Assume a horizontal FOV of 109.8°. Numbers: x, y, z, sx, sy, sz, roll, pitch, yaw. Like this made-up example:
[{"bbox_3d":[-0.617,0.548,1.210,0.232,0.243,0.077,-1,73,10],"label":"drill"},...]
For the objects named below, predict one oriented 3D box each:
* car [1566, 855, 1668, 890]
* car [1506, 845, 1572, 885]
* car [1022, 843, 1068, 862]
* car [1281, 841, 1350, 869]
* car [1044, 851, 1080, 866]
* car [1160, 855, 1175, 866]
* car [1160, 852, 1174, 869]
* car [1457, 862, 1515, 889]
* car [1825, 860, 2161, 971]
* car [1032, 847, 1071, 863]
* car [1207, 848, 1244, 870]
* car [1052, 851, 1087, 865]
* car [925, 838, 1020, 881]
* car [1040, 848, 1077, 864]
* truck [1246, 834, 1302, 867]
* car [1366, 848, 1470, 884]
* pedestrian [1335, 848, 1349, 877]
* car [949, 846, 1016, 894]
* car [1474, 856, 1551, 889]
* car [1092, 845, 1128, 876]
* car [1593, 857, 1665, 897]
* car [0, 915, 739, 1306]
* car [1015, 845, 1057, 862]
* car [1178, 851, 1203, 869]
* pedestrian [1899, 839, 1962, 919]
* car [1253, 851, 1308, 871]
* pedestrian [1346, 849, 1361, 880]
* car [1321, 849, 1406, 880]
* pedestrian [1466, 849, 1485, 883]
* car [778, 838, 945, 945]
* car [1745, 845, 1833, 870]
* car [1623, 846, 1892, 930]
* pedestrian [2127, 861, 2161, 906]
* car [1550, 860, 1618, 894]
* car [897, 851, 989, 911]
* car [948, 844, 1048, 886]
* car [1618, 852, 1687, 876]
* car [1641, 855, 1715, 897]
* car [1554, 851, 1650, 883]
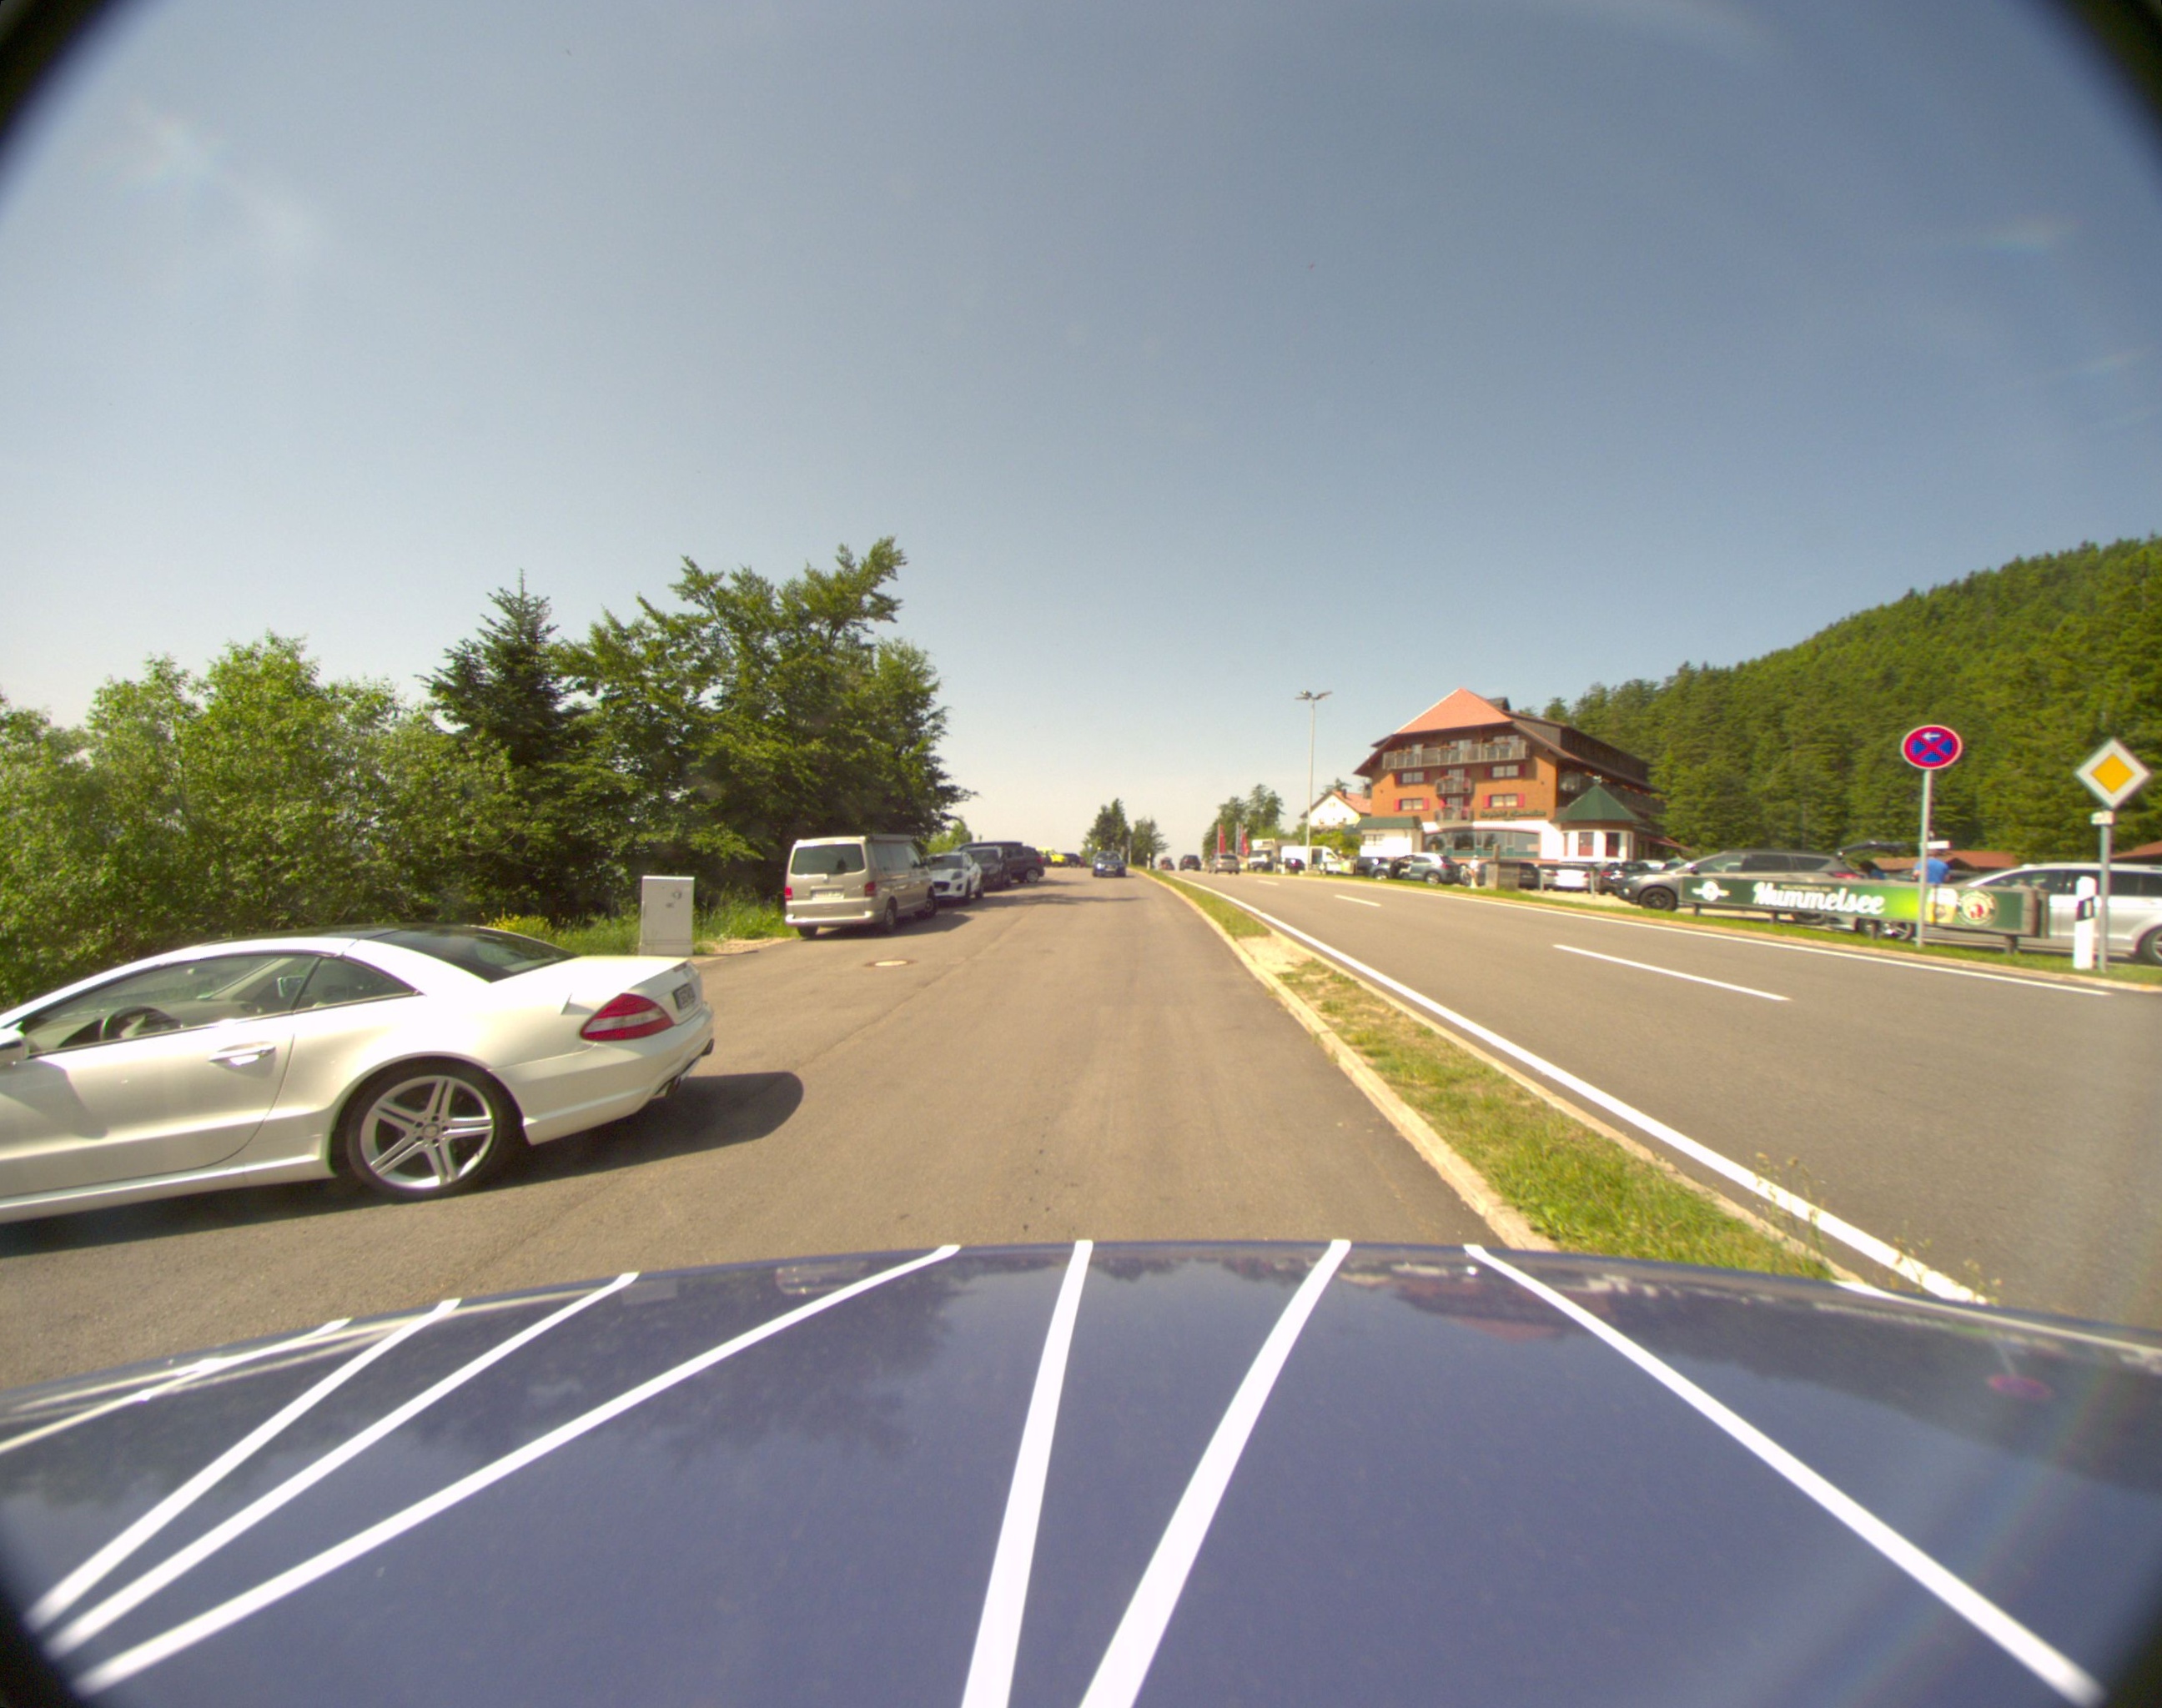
[{"bbox_3d":[28.194,0.946,40.034,4.082,1.619,1.828,2,2,44],"label":"car"},{"bbox_3d":[24.490,0.530,40.611,4.008,2.002,1.994,0,1,-43],"label":"car"},{"bbox_3d":[-3.620,-0.157,77.217,4.455,1.914,1.877,1,1,4],"label":"car"},{"bbox_3d":[25.604,0.077,82.911,6.949,2.775,2.671,1,1,20],"label":"car"},{"bbox_3d":[-2.162,0.449,85.889,3.909,1.605,1.877,1,1,4],"label":"car"},{"bbox_3d":[12.350,0.965,108.858,1.710,1.429,4.449,1,1,1],"label":"car"},{"bbox_3d":[14.629,1.095,129.665,2.015,2.735,5.918,1,1,4],"label":"car"},{"bbox_3d":[24.595,1.255,46.109,4.104,1.504,1.818,0,1,-43],"label":"car"},{"bbox_3d":[14.835,0.881,11.892,4.488,1.422,1.726,2,1,44],"label":"car"},{"bbox_3d":[-3.116,0.062,80.395,3.909,1.605,1.877,1,1,4],"label":"car"},{"bbox_3d":[10.389,0.348,54.810,1.884,1.466,4.714,-1,1,2],"label":"car"},{"bbox_3d":[-1.366,0.491,89.999,3.909,1.605,1.877,1,1,4],"label":"car"},{"bbox_3d":[-5.575,0.271,38.996,4.463,1.914,1.873,-3,1,-18],"label":"car"},{"bbox_3d":[-2.422,0.211,83.082,3.909,1.605,1.877,1,1,4],"label":"car"},{"bbox_3d":[23.074,-0.368,90.355,2.876,3.798,9.037,-1,0,39],"label":"truck"},{"bbox_3d":[16.571,0.547,37.469,4.258,1.619,1.828,2,1,44],"label":"car"},{"bbox_3d":[18.310,0.611,53.346,0.717,2.002,0.802,0,1,0],"label":"pedestrian"},{"bbox_3d":[-3.663,0.533,28.944,1.875,1.609,3.999,-3,1,1],"label":"car"},{"bbox_3d":[21.400,0.870,37.854,1.720,1.422,4.001,1,1,4],"label":"car"},{"bbox_3d":[1.563,0.317,41.982,1.875,1.605,3.913,1,1,2],"label":"car"},{"bbox_3d":[24.699,1.002,34.223,4.104,1.619,1.818,0,1,-43],"label":"car"},{"bbox_3d":[-4.361,1.177,3.967,4.414,1.288,1.753,-3,0,-16],"label":"car"},{"bbox_3d":[-4.410,-0.087,74.476,3.909,1.605,1.877,1,1,4],"label":"car"},{"bbox_3d":[11.079,0.565,76.958,1.998,1.638,4.567,1,1,2],"label":"car"},{"bbox_3d":[17.844,0.506,15.981,0.744,1.626,0.849,2,2,42],"label":"pedestrian"},{"bbox_3d":[16.807,0.604,64.006,4.082,1.518,1.828,2,1,41],"label":"car"},{"bbox_3d":[18.165,0.682,50.669,0.717,2.002,0.802,0,1,0],"label":"pedestrian"},{"bbox_3d":[16.511,0.584,44.514,4.258,1.619,1.828,2,1,44],"label":"car"},{"bbox_3d":[19.592,0.591,37.735,0.744,1.615,0.684,2,2,31],"label":"pedestrian"},{"bbox_3d":[-4.512,0.678,16.475,1.861,1.924,4.610,-3,1,5],"label":"car"},{"bbox_3d":[54.603,0.250,58.657,1.924,1.706,4.831,0,1,-44],"label":"car"},{"bbox_3d":[15.770,0.696,17.995,4.538,1.646,1.726,2,1,43],"label":"car"},{"bbox_3d":[40.167,1.100,28.563,0.782,1.646,0.881,1,2,40],"label":"pedestrian"},{"bbox_3d":[24.810,1.103,37.410,4.104,1.504,1.818,0,1,-43],"label":"car"},{"bbox_3d":[-4.012,0.732,22.731,1.875,1.538,3.999,-3,1,1],"label":"car"},{"bbox_3d":[-3.656,0.461,33.389,4.003,1.609,1.873,-3,1,-18],"label":"car"},{"bbox_3d":[45.530,0.753,60.602,1.924,1.706,4.082,0,2,-44],"label":"car"},{"bbox_3d":[25.556,0.886,32.496,4.104,1.619,1.818,0,1,-43],"label":"car"},{"bbox_3d":[29.086,0.684,42.488,4.082,1.619,1.828,2,2,44],"label":"car"}]
